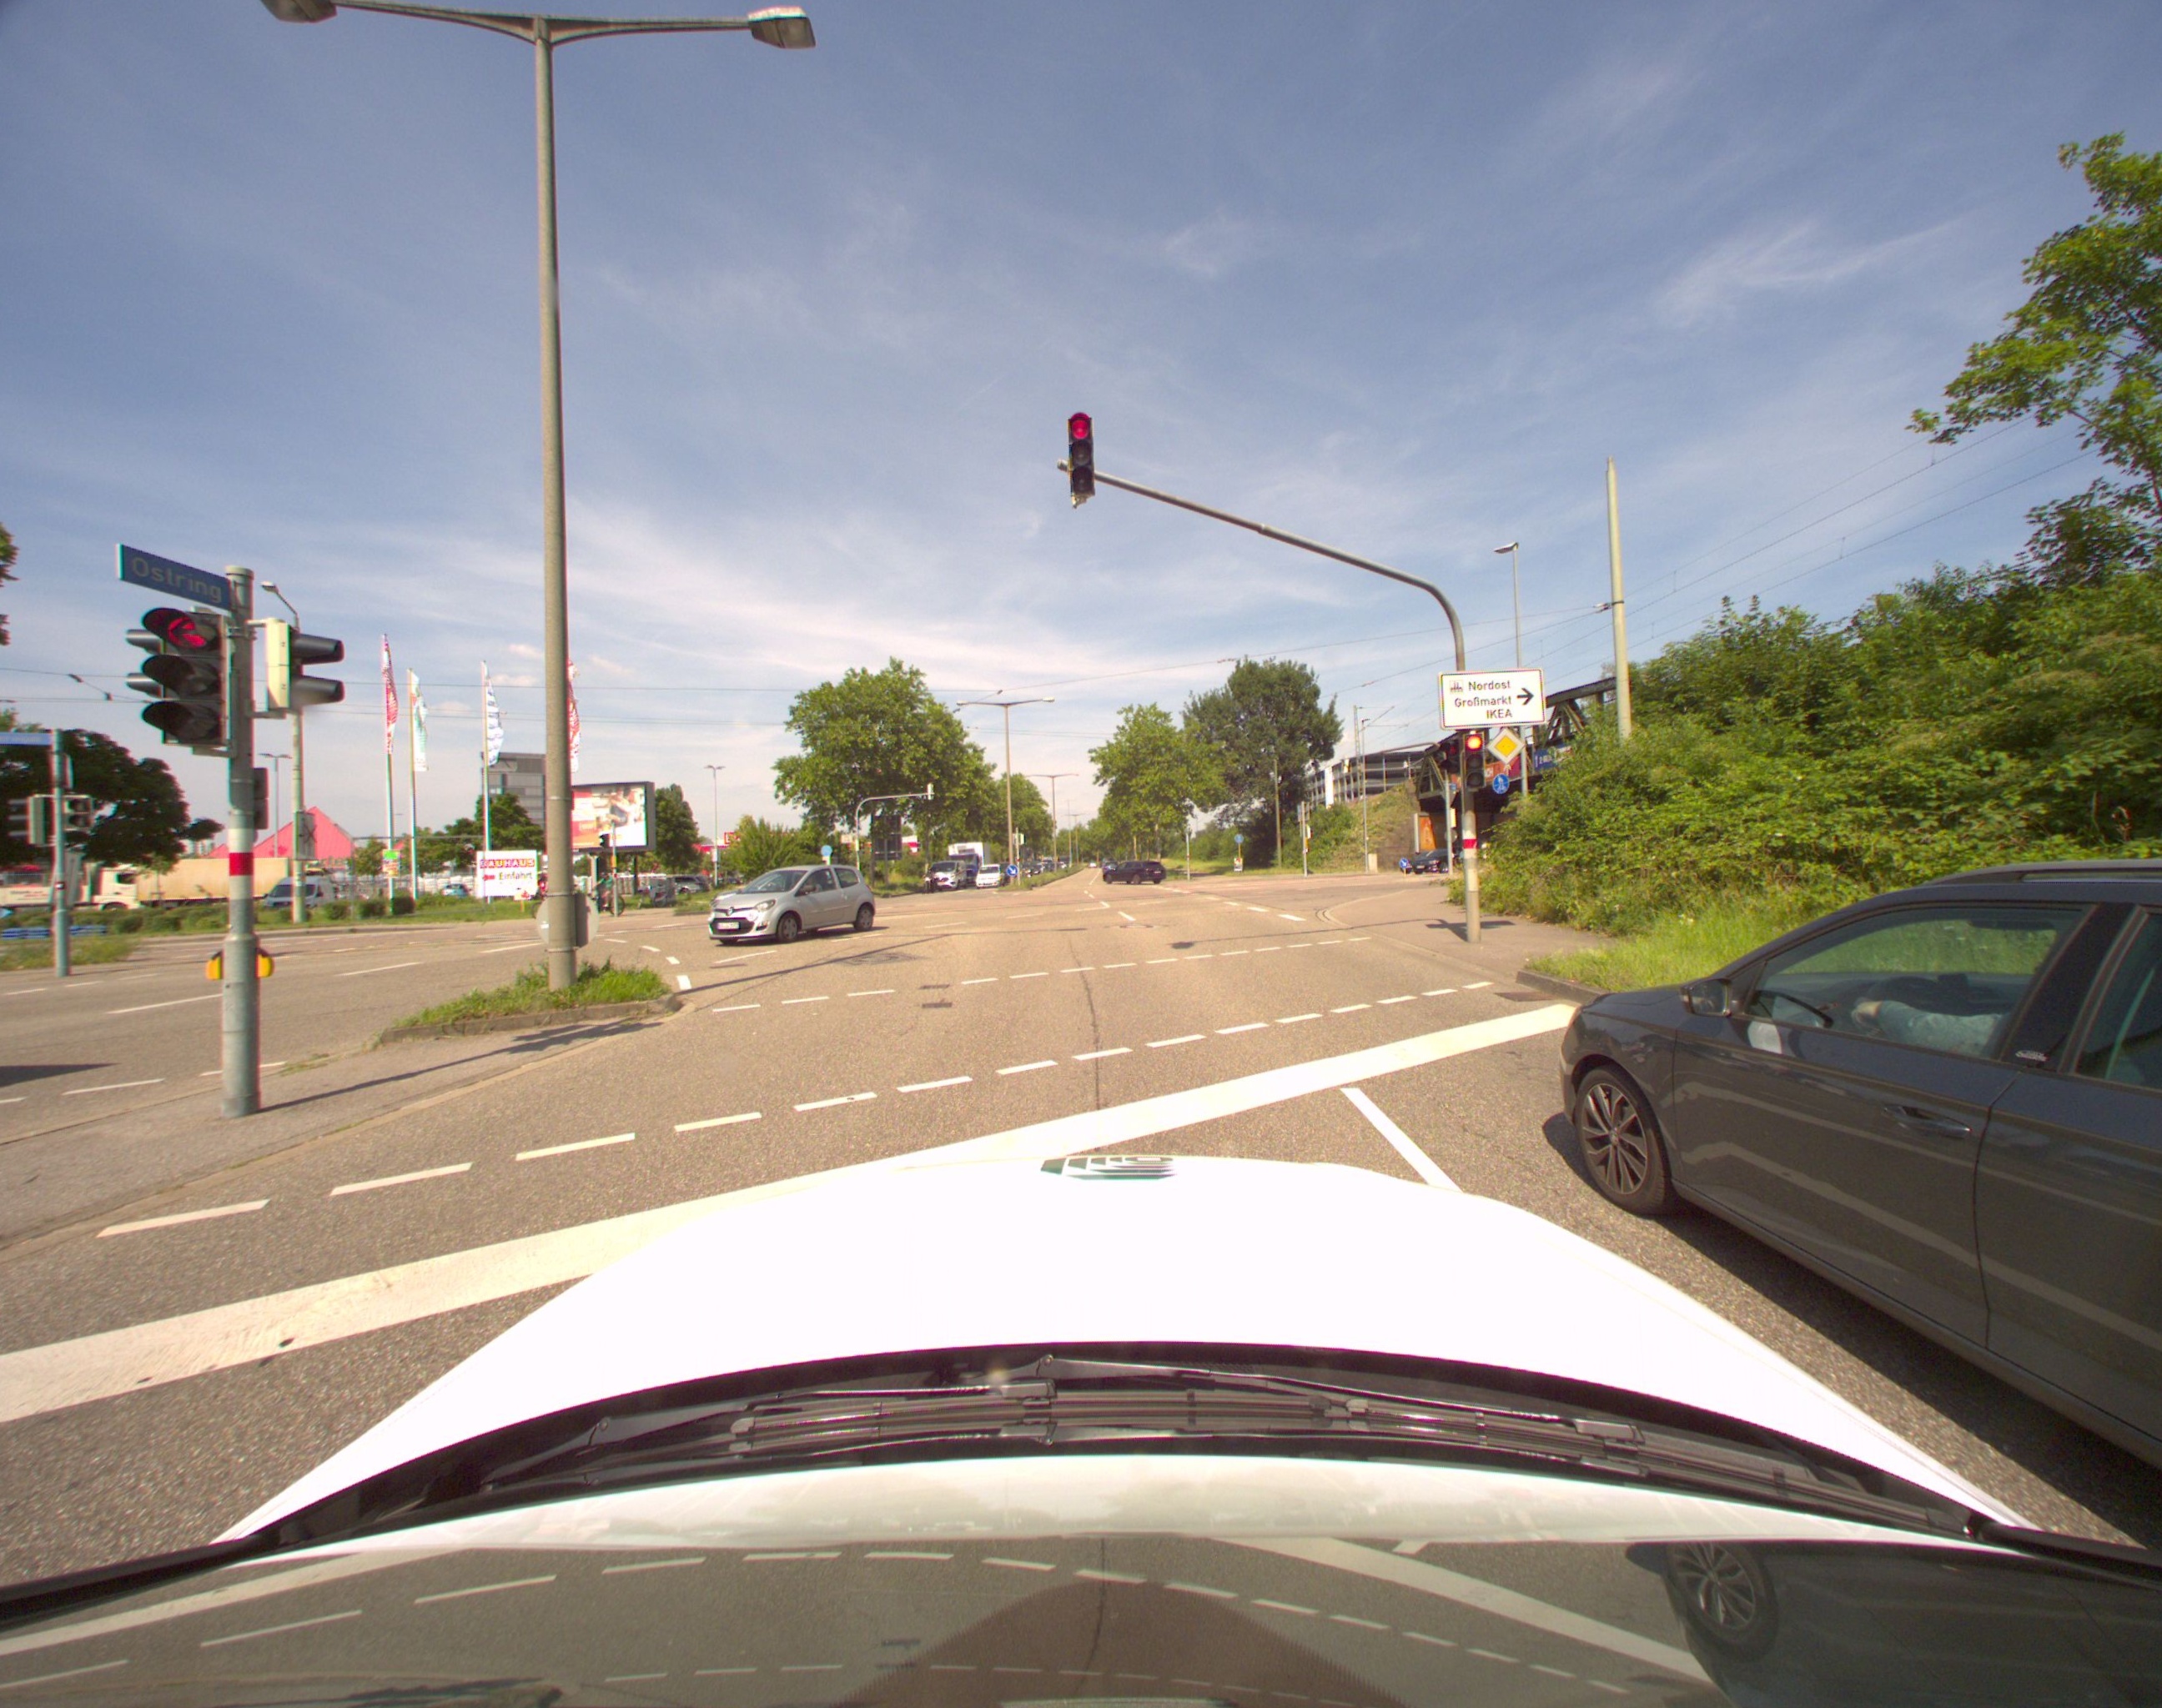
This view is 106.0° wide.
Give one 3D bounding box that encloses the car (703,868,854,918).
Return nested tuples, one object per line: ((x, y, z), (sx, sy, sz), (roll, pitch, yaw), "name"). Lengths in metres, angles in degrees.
((-10.137, 1.270, 27.414), (4.478, 1.411, 1.623), (-2, 0, -32), "car")

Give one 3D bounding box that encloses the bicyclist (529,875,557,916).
((-19.248, 1.486, 29.132), (0.523, 1.414, 0.613), (-2, -1, 24), "bicyclist")

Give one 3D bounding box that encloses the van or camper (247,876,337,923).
((-41.036, 2.288, 42.520), (2.204, 2.210, 5.462), (-2, -1, -32), "van or camper")

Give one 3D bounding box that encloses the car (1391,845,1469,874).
((19.617, 0.318, 45.741), (4.233, 1.443, 1.773), (-2, 0, -29), "car")

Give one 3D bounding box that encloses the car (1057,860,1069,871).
((-2.845, 1.860, 132.189), (1.682, 1.510, 3.816), (-3, 0, 2), "car")

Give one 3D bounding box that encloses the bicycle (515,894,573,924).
((-19.179, 1.946, 29.141), (0.430, 0.937, 1.761), (-2, -1, 24), "bicycle")

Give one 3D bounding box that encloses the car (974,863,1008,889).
((-5.801, 1.404, 52.782), (1.587, 1.477, 3.731), (-3, 0, 2), "car")

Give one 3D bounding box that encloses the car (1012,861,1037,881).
((-4.956, 1.462, 72.229), (1.682, 1.586, 4.242), (-3, 0, 2), "car")

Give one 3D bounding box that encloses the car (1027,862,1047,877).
((-4.571, 1.608, 85.138), (1.682, 1.472, 3.816), (-3, 0, 2), "car")

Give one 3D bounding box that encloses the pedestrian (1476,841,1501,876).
((18.894, 0.215, 37.758), (0.726, 1.579, 0.778), (-2, -1, 1), "pedestrian")

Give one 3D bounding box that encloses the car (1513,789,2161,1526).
((2.971, 0.592, 2.089), (1.668, 1.453, 4.037), (-1, 0, 1), "car")

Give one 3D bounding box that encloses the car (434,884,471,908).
((-45.843, 3.058, 59.486), (1.829, 1.572, 4.234), (-2, -1, -34), "car")

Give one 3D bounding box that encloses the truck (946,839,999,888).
((-8.411, 0.684, 63.923), (2.793, 3.471, 6.693), (-4, 0, 2), "truck")

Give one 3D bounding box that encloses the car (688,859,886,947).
((-5.812, 0.913, 16.572), (1.634, 1.514, 3.756), (-2, 0, 23), "car")

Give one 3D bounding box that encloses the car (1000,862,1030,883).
((-5.276, 1.459, 65.656), (1.790, 1.468, 4.525), (-3, 0, 2), "car")

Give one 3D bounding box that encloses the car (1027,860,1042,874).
((-6.759, 1.910, 119.246), (1.682, 1.858, 4.038), (-3, -1, 2), "car")

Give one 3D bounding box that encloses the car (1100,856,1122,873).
((2.867, 1.009, 78.007), (1.986, 1.519, 4.001), (-2, 0, 2), "car")

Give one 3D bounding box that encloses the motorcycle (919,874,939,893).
((-9.030, 1.742, 48.499), (0.685, 0.991, 2.218), (-2, 0, 2), "motorcycle")

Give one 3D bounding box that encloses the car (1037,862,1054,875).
((-4.239, 1.710, 97.834), (1.778, 1.489, 4.211), (-3, 0, 1), "car")

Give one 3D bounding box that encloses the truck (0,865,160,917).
((-64.940, 2.324, 50.684), (9.655, 2.892, 2.895), (-2, -1, -35), "truck")

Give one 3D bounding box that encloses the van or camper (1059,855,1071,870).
((-2.730, 1.475, 140.979), (1.932, 2.368, 5.397), (-3, -1, 0), "van or camper")

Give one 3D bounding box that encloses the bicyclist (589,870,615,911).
((-17.855, 1.360, 30.369), (0.523, 1.491, 0.612), (-2, -1, 17), "bicyclist")

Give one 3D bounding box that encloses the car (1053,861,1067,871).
((-3.174, 1.847, 125.455), (1.777, 1.459, 4.473), (-3, 0, 2), "car")

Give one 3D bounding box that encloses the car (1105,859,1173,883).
((3.565, 1.062, 50.937), (1.849, 1.391, 4.216), (-2, 0, -38), "car")

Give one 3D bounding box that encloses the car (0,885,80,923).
((-77.032, 3.612, 59.847), (2.396, 2.529, 6.066), (-2, -1, -31), "car")

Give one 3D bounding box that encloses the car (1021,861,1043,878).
((-4.774, 1.538, 79.503), (1.682, 1.473, 4.220), (-4, 0, 2), "car")

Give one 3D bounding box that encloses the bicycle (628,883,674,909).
((-18.779, 1.833, 35.576), (0.590, 1.037, 1.903), (-2, -1, 16), "bicycle")

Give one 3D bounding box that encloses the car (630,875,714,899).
((-27.775, 2.216, 55.457), (4.556, 1.414, 2.196), (-2, -1, -6), "car")

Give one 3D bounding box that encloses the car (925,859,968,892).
((-8.770, 1.376, 53.597), (1.970, 1.999, 5.030), (-2, 0, -1), "car")

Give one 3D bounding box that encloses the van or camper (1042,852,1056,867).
((-5.843, 1.006, 148.236), (2.007, 2.587, 5.519), (-3, 0, 2), "van or camper")

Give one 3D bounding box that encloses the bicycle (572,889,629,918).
((-17.858, 1.837, 30.316), (0.412, 0.937, 2.007), (-2, -1, 18), "bicycle")

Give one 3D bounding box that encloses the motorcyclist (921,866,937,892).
((-9.068, 1.499, 48.596), (0.740, 1.470, 0.988), (-2, 0, 1), "motorcyclist")

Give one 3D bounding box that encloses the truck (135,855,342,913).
((-55.067, 1.863, 53.696), (8.964, 3.311, 3.125), (-2, -1, -36), "truck")

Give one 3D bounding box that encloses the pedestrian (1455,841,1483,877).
((18.022, 0.245, 37.857), (0.865, 1.611, 0.778), (-2, -1, 1), "pedestrian")

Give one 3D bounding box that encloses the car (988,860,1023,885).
((-5.410, 1.319, 58.718), (1.813, 1.646, 4.695), (-3, -1, 2), "car")
